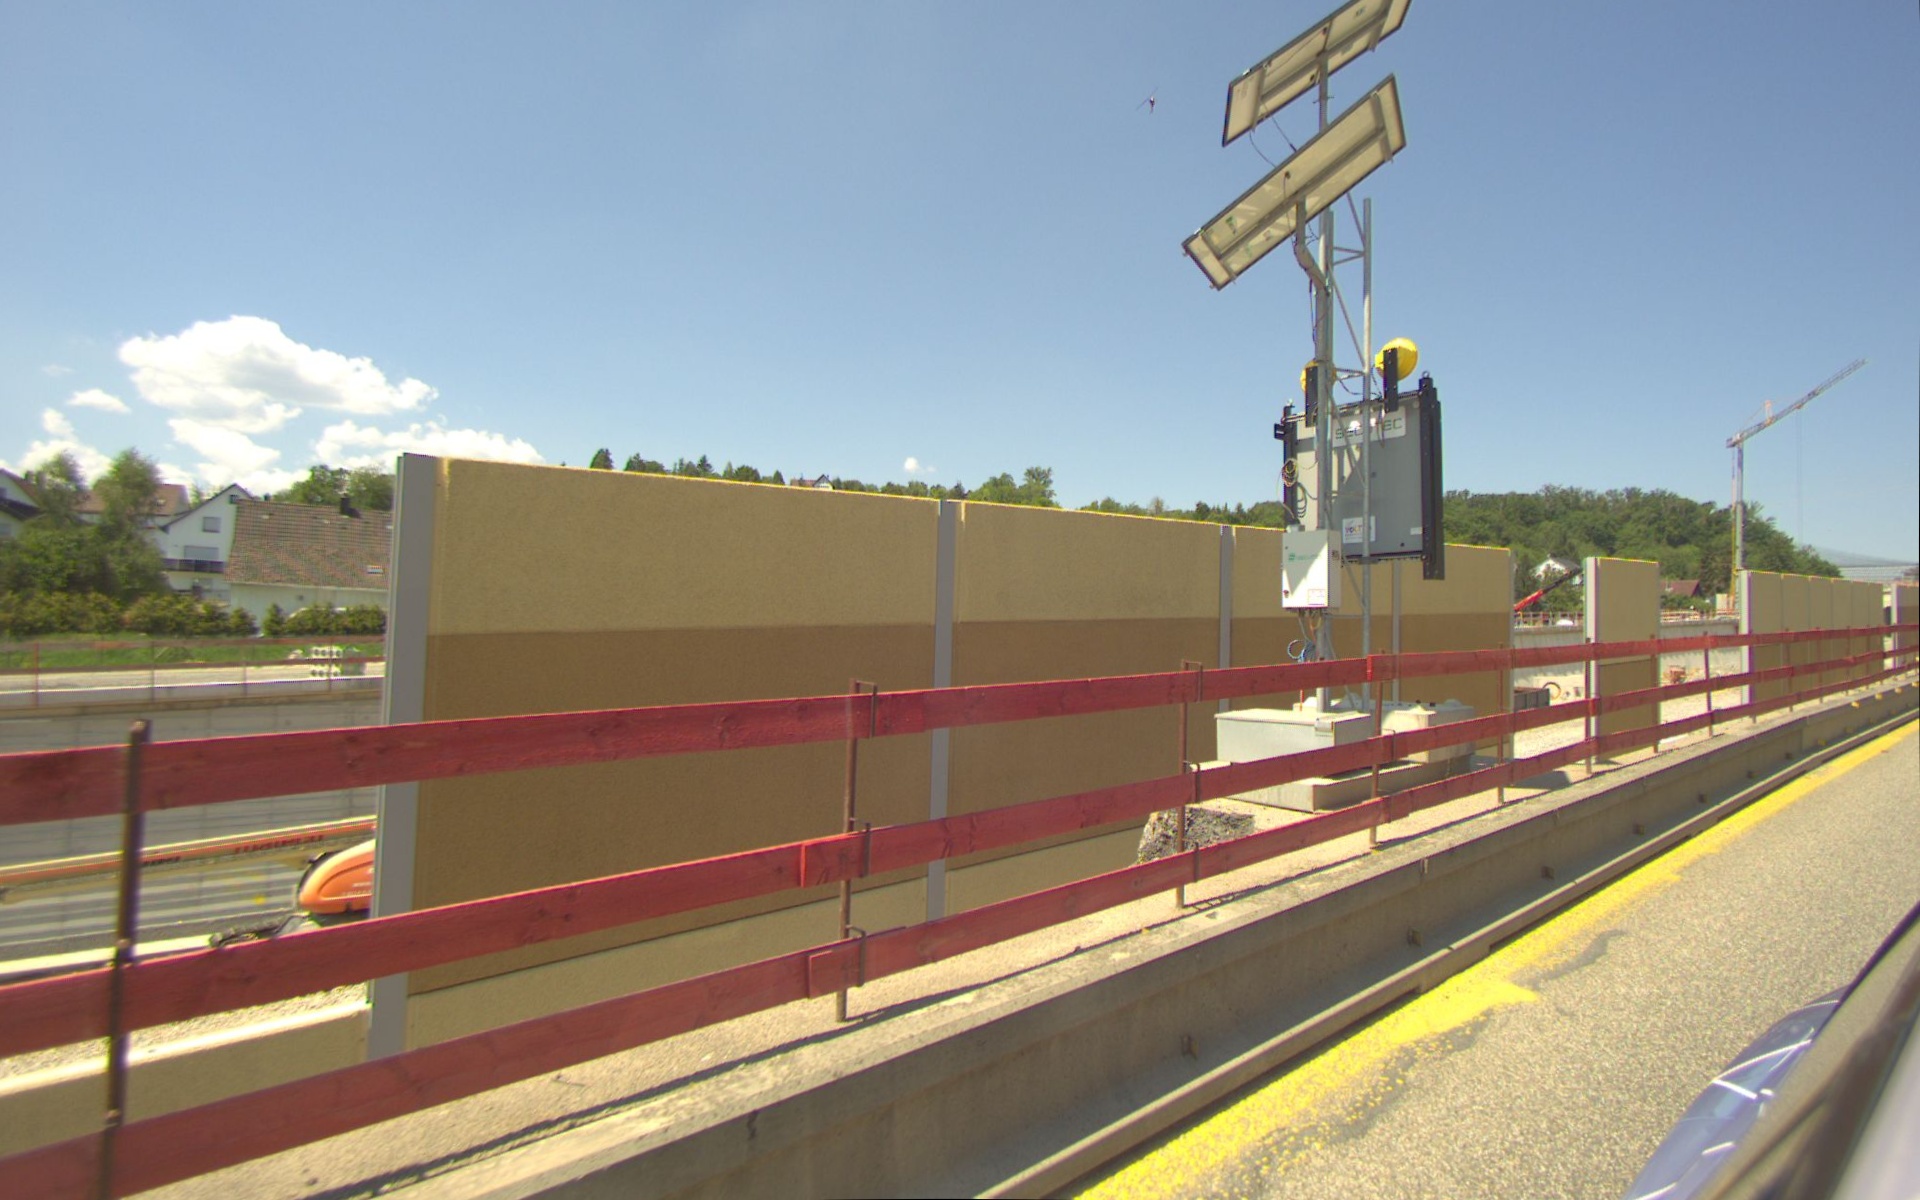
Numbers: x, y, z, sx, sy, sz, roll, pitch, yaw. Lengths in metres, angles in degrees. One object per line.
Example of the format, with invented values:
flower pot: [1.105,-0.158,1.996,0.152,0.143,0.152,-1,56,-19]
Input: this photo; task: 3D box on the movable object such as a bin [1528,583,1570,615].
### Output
movable object such as a bin: [59.106,-0.082,101.560,4.831,3.123,2.201,1,0,-41]

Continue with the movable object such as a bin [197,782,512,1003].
movable object such as a bin: [-10.581,4.885,17.808,4.376,2.522,2.612,0,-1,-41]
